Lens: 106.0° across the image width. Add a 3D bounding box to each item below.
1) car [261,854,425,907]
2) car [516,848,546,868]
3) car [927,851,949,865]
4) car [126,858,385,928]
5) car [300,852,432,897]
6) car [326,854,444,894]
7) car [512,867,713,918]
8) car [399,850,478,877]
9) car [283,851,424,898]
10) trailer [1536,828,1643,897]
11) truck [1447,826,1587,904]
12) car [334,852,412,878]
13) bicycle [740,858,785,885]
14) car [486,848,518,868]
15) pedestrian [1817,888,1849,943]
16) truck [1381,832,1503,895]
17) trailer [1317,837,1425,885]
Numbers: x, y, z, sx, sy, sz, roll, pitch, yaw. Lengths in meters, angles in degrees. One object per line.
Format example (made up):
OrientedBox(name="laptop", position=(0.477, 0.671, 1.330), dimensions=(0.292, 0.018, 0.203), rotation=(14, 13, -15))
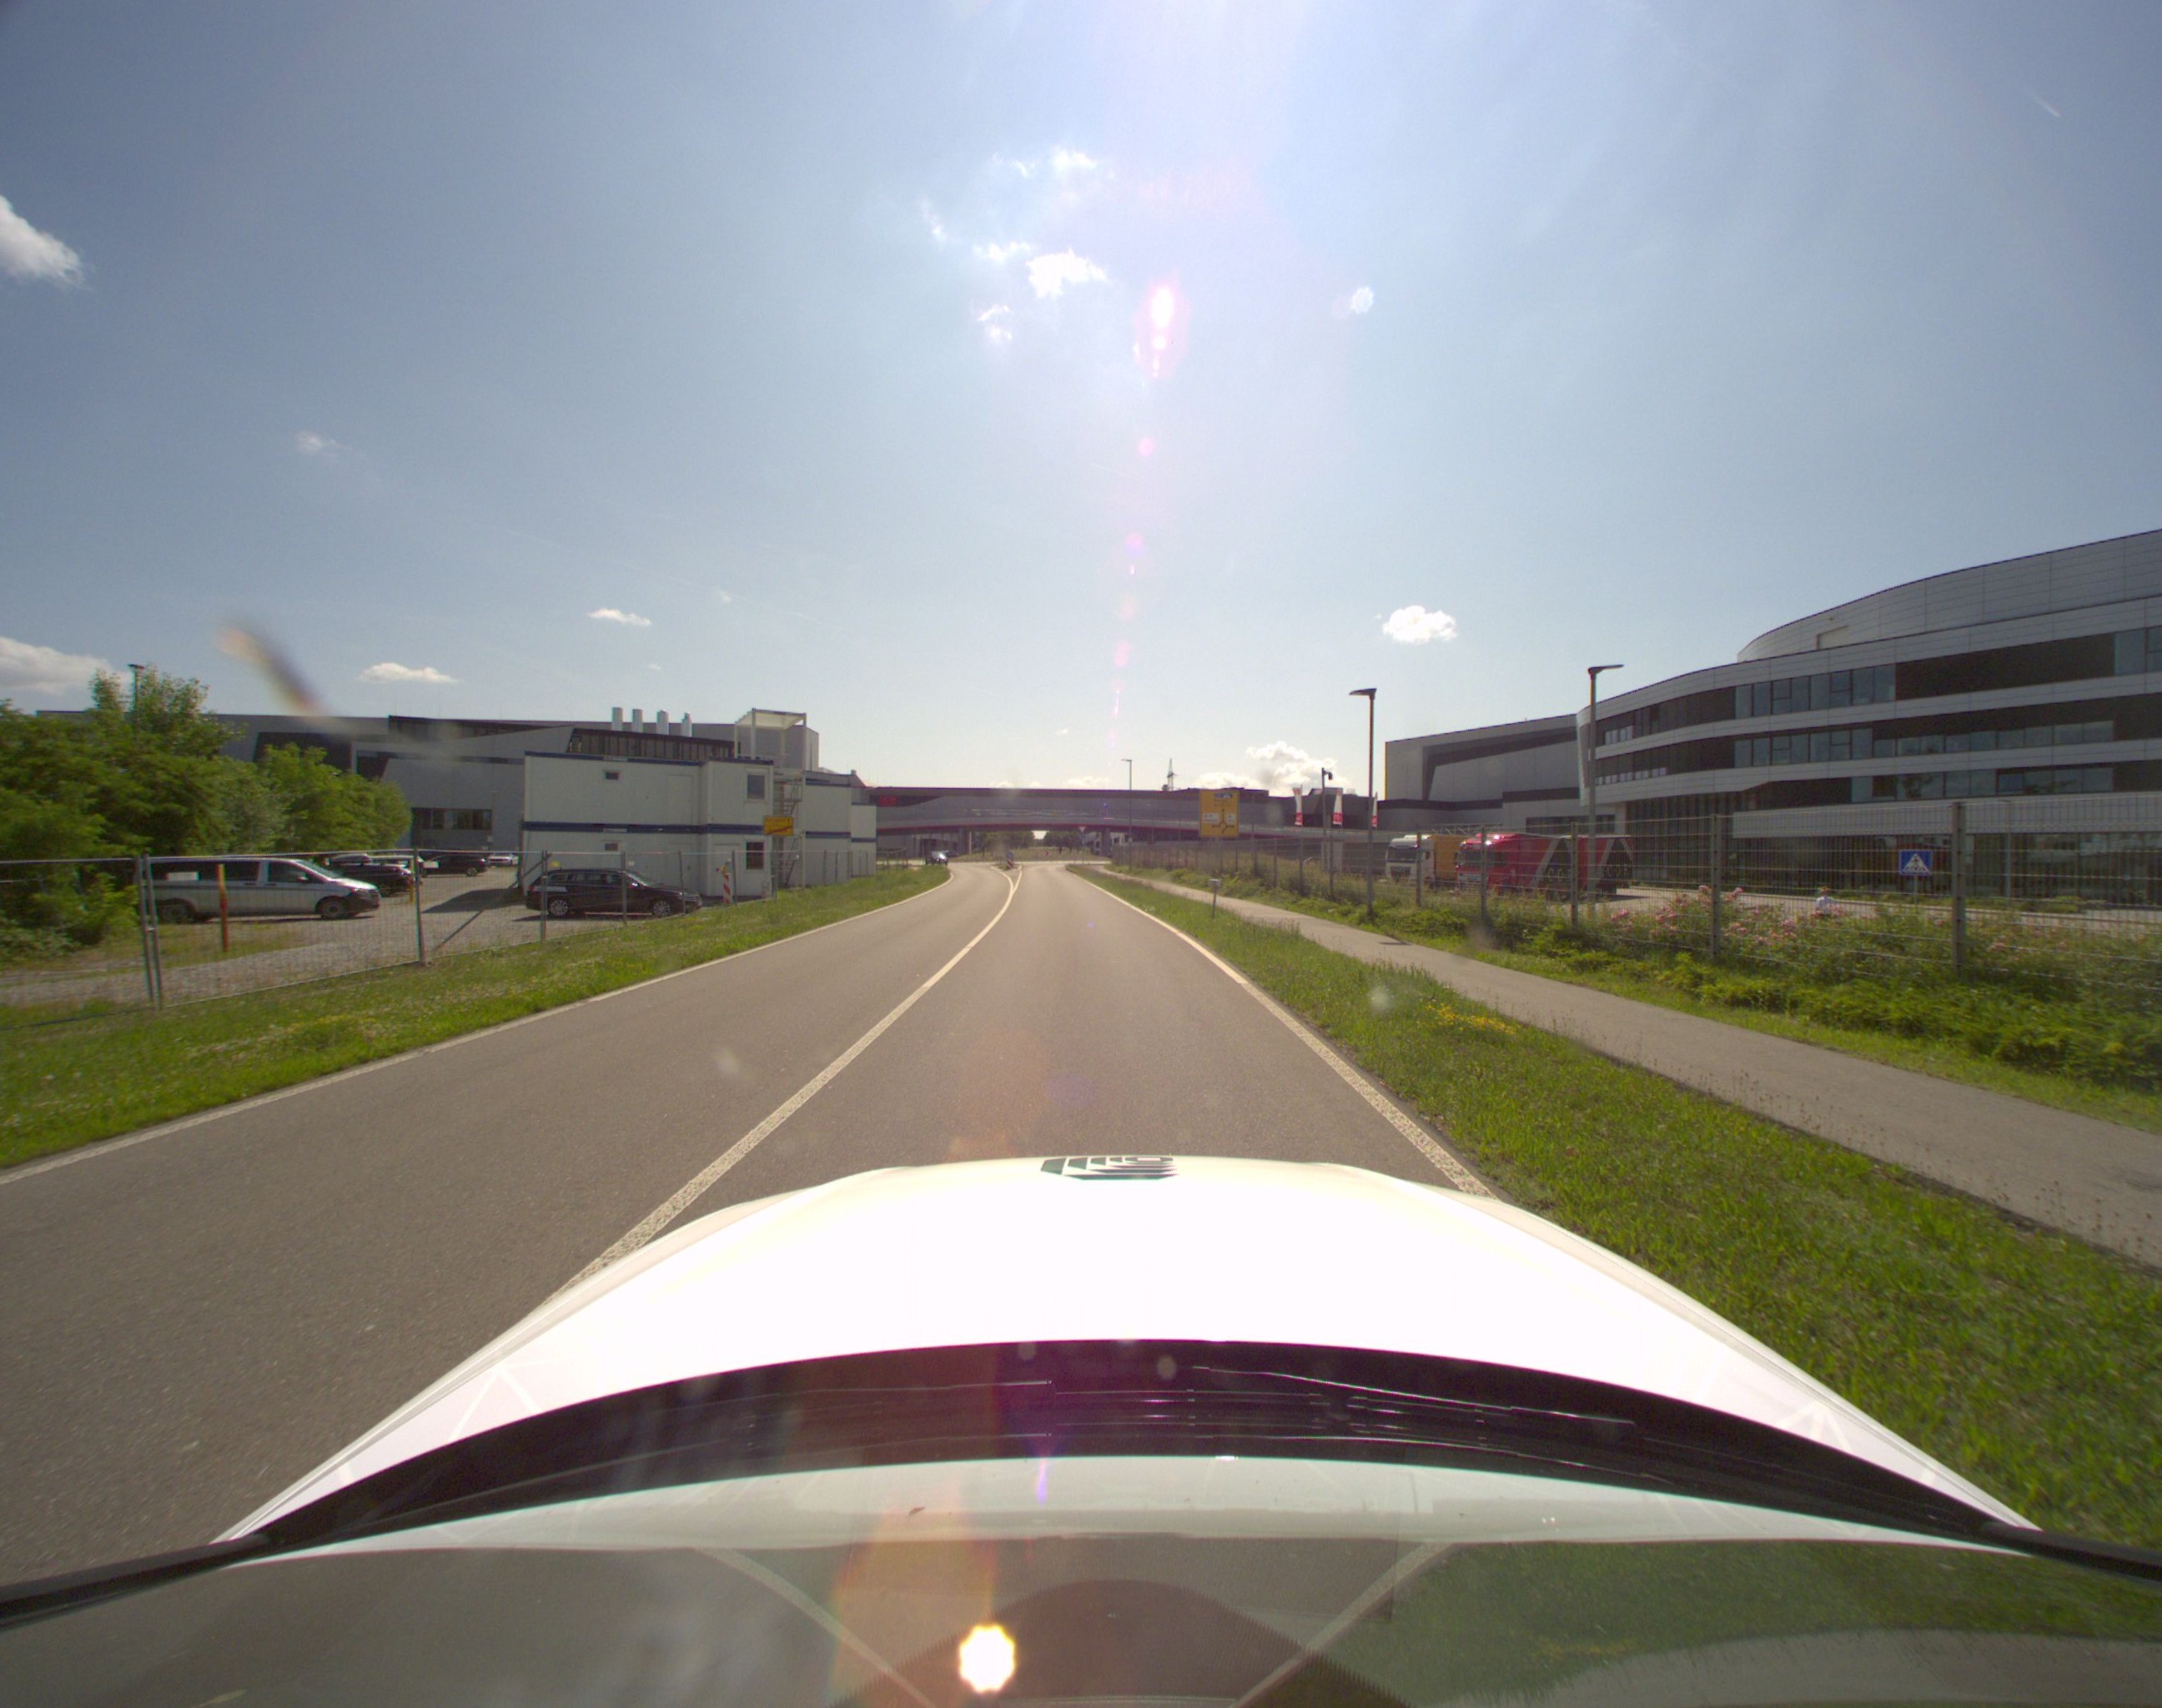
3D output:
OrientedBox(name="car", position=(-27.999, 0.961, 31.108), dimensions=(4.330, 1.866, 1.980), rotation=(1, 0, -33))
OrientedBox(name="car", position=(-53.161, 0.360, 78.761), dimensions=(2.006, 1.866, 4.273), rotation=(1, 0, -29))
OrientedBox(name="car", position=(-15.644, 0.452, 88.960), dimensions=(1.708, 1.482, 3.973), rotation=(-1, 0, -20))
OrientedBox(name="car", position=(-24.128, 1.078, 24.158), dimensions=(5.040, 1.866, 1.980), rotation=(1, 0, -33))
OrientedBox(name="car", position=(-32.993, 0.928, 37.770), dimensions=(4.330, 1.948, 1.980), rotation=(1, 0, -33))
OrientedBox(name="car", position=(-34.364, 0.941, 40.277), dimensions=(4.338, 1.866, 1.976), rotation=(1, 0, -44))
OrientedBox(name="car", position=(-14.273, 1.142, 25.123), dimensions=(4.974, 1.417, 1.991), rotation=(0, 1, -13))
OrientedBox(name="car", position=(-45.640, 0.661, 57.921), dimensions=(4.335, 1.866, 1.977), rotation=(1, 0, -39))
OrientedBox(name="car", position=(-31.737, 0.872, 35.734), dimensions=(4.330, 1.948, 1.980), rotation=(1, 0, -33))
OrientedBox(name="trailer", position=(34.158, 0.506, 54.575), dimensions=(8.754, 4.296, 2.995), rotation=(-1, -1, -36))
OrientedBox(name="truck", position=(26.250, 0.573, 48.693), dimensions=(11.024, 4.256, 2.995), rotation=(-1, -1, -37))
OrientedBox(name="car", position=(-53.268, 0.800, 61.409), dimensions=(4.335, 1.866, 1.977), rotation=(1, 0, -39))
OrientedBox(name="bicycle", position=(-16.352, 0.884, 41.813), dimensions=(2.054, 1.301, 0.602), rotation=(-1, -1, -34))
OrientedBox(name="car", position=(-55.058, 0.396, 77.474), dimensions=(2.006, 1.866, 4.273), rotation=(1, 0, -29))
OrientedBox(name="pedestrian", position=(23.332, 1.910, 25.278), dimensions=(0.481, 1.653, 0.574), rotation=(1, 0, 0))
OrientedBox(name="truck", position=(25.801, 0.589, 57.831), dimensions=(11.022, 4.172, 2.791), rotation=(-1, -1, -36))
OrientedBox(name="trailer", position=(28.848, 0.572, 80.330), dimensions=(14.128, 4.438, 2.735), rotation=(-1, -1, -37))
